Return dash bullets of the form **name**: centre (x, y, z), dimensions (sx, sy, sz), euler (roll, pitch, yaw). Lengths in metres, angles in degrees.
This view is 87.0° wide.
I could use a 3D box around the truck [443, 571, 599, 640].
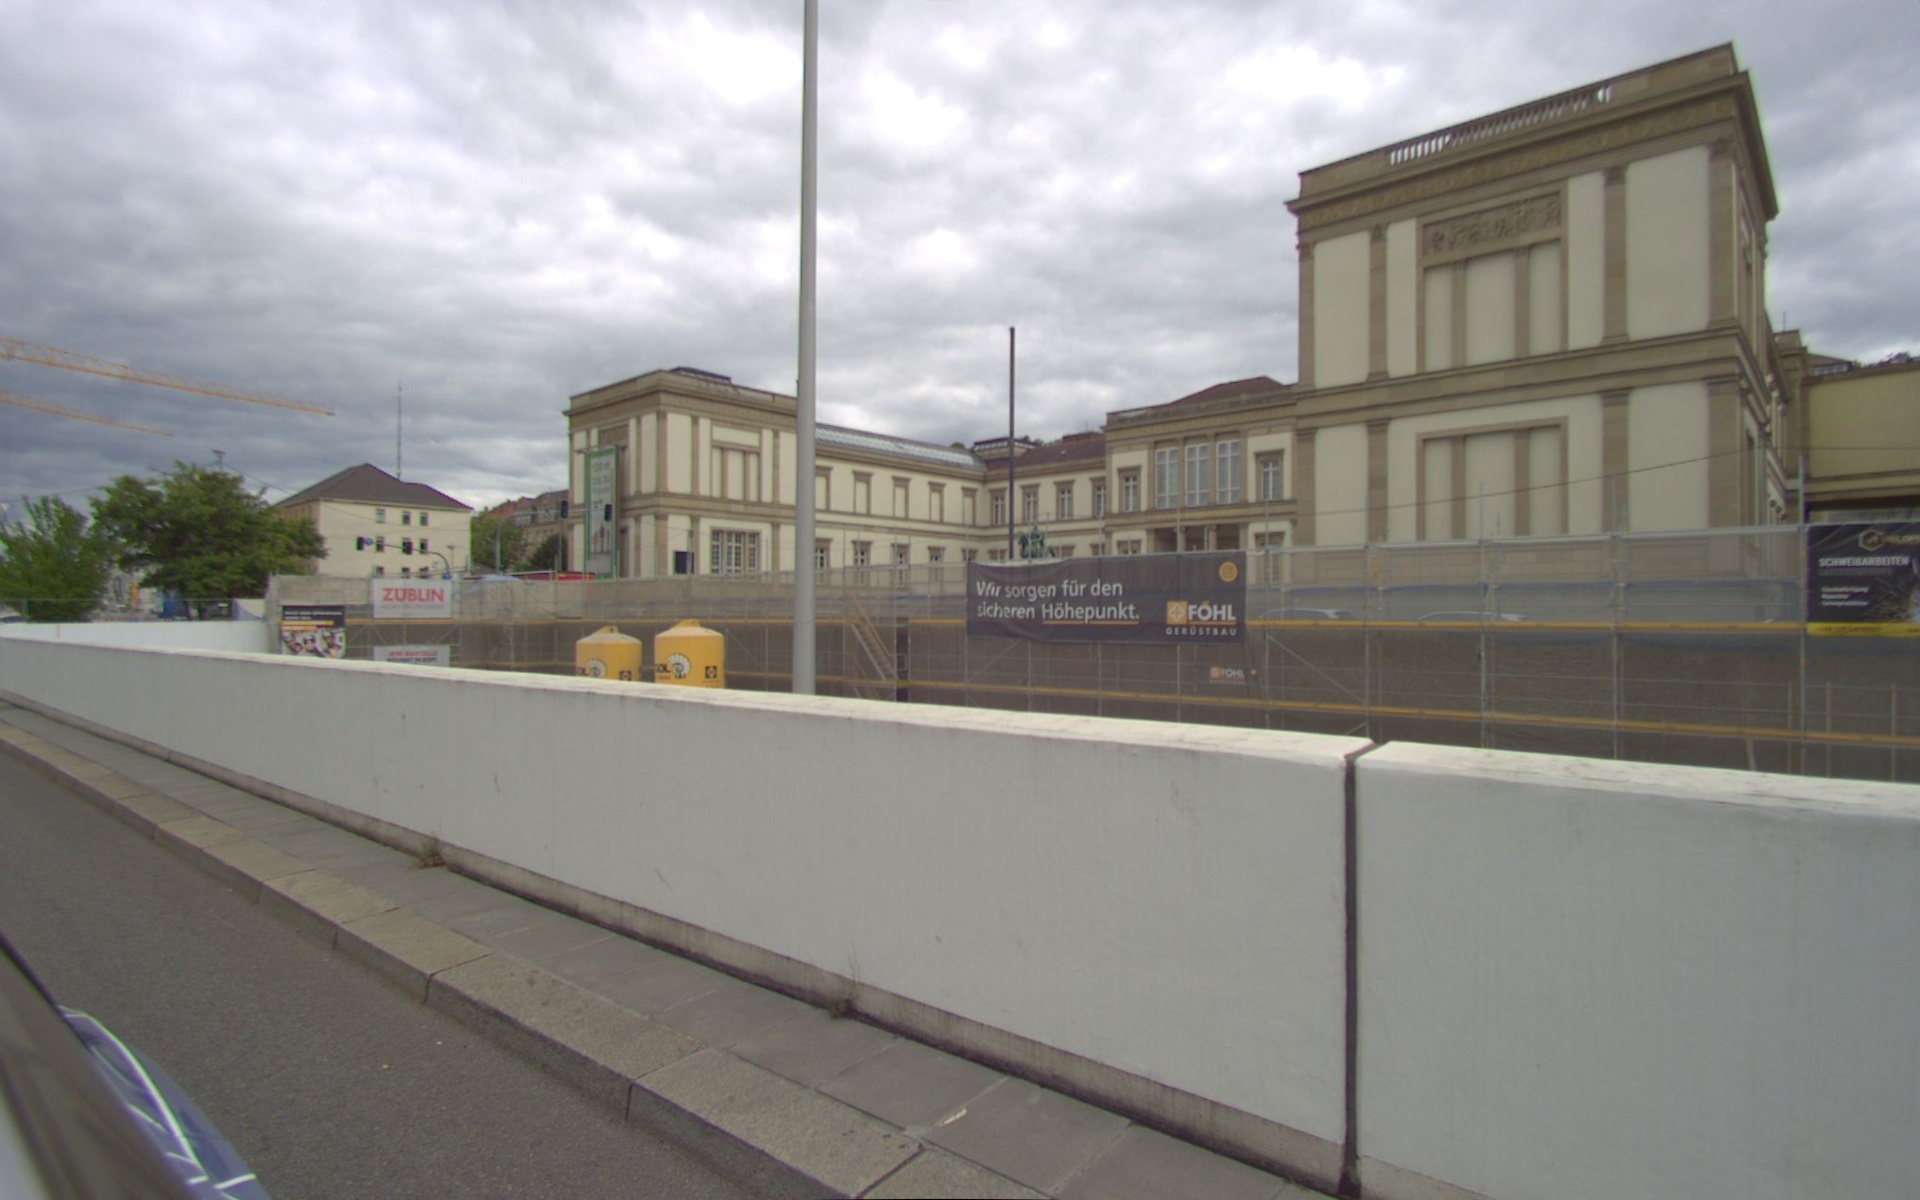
- **truck**: centre (-29.467, 0.566, 67.114), dimensions (16.610, 4.114, 2.886), euler (-2, -3, 42)
